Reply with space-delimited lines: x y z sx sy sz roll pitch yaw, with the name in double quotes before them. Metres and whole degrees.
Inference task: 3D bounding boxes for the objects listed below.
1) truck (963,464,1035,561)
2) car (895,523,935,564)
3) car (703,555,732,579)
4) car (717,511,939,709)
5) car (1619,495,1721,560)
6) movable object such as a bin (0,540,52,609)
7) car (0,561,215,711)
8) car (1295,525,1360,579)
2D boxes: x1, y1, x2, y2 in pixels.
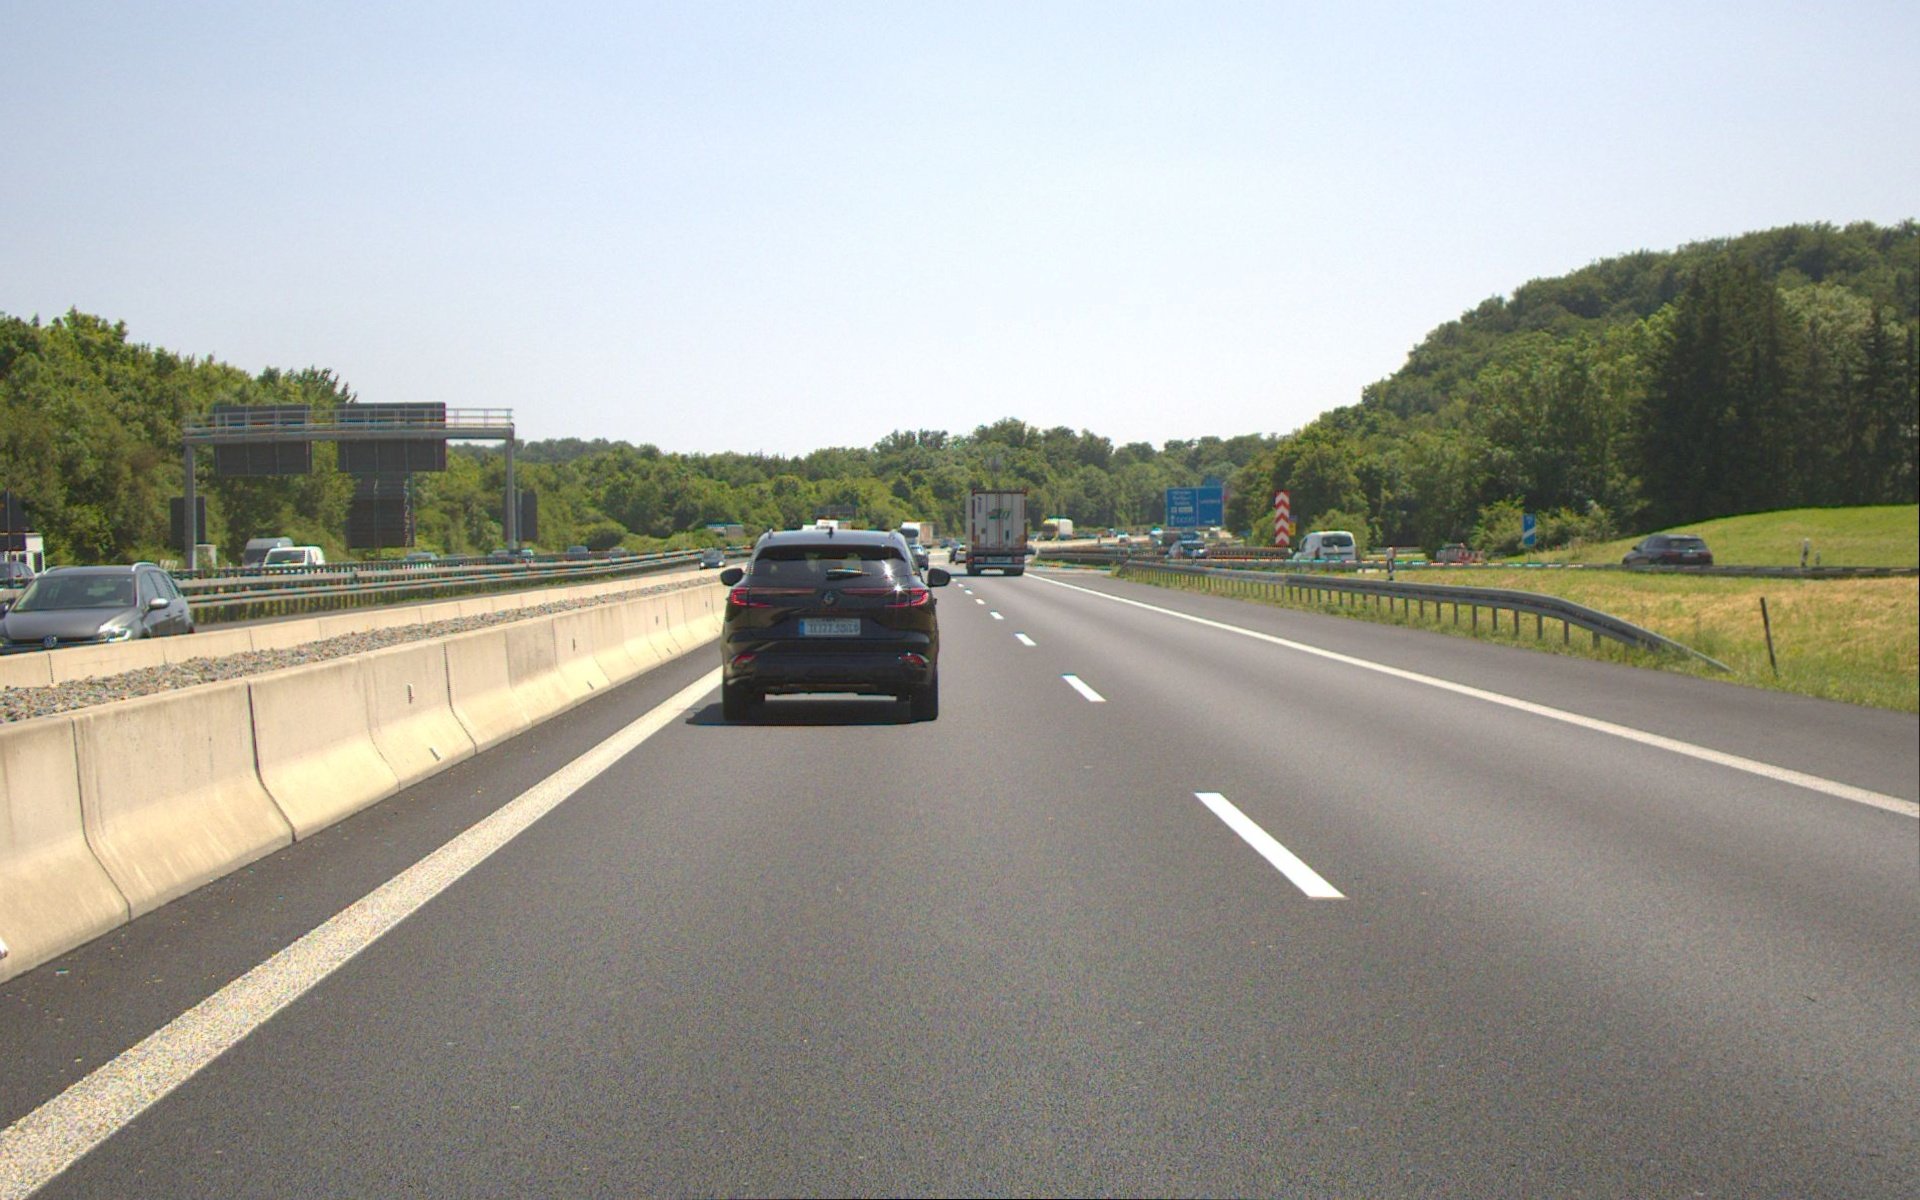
"truck" 1.816 -4.133 165.688 3.032 4.403 12.019 1 0 -1
"car" -2.534 -3.184 194.077 2.138 2.209 5.088 1 0 0
"car" -15.454 -2.102 219.200 1.833 1.529 4.160 1 0 -4
"car" -1.179 0.065 29.855 1.779 1.572 4.001 1 0 -3
"car" 23.061 -2.338 111.742 1.993 2.007 4.001 -2 1 -7
"movable object such as a bin" -29.131 -0.782 102.499 2.507 2.007 6.781 1 0 -2
"car" -10.000 0.374 40.156 1.794 1.590 4.308 -1 1 -2
"car" 14.449 -1.894 135.412 1.993 2.007 4.000 -3 1 0
